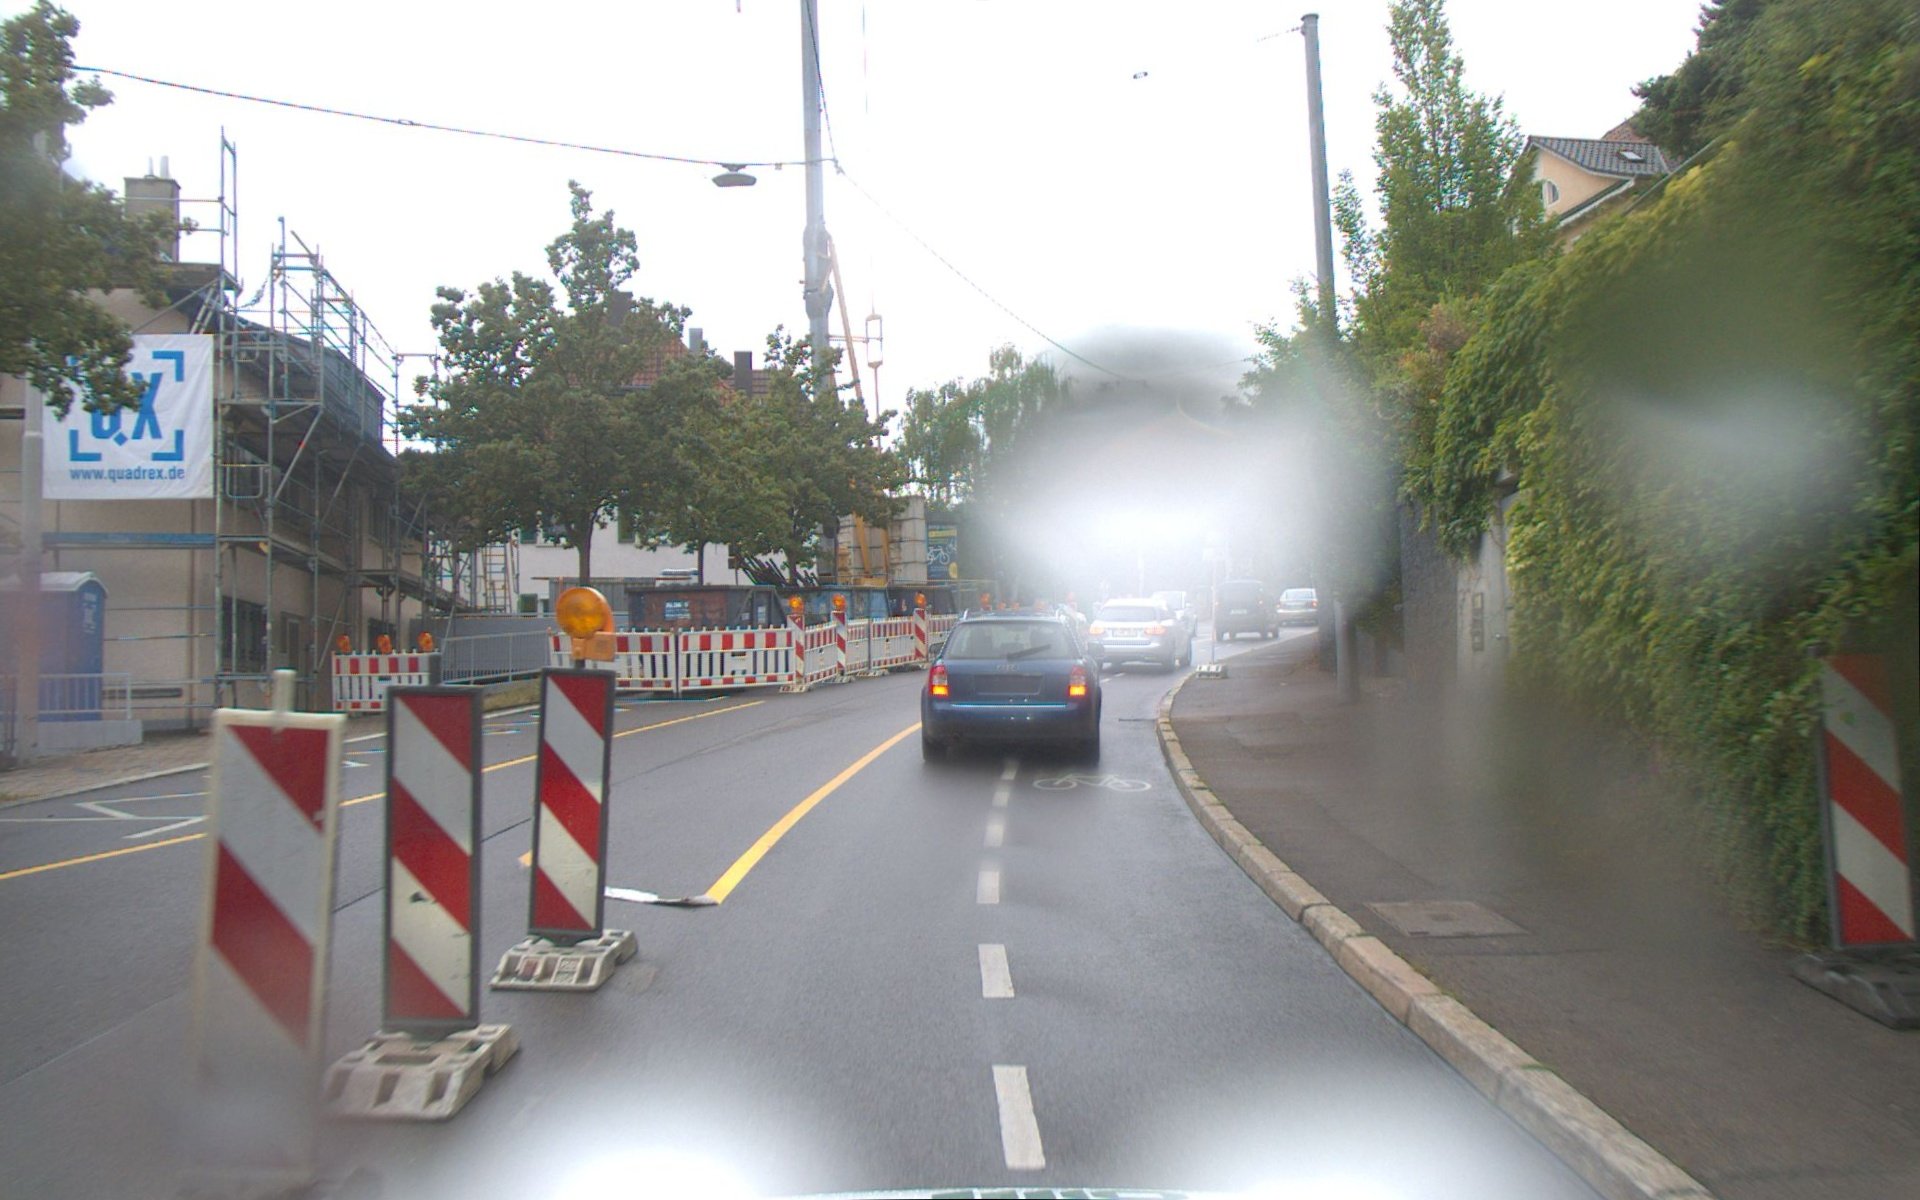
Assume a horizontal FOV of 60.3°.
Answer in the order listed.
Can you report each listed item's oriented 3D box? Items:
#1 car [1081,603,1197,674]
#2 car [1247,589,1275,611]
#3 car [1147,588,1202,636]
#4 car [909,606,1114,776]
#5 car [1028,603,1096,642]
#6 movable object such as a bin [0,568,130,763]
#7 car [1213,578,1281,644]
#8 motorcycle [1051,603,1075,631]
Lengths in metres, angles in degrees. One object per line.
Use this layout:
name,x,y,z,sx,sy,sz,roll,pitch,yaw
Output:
car,3.855,0.782,35.051,1.868,1.413,4.353,0,0,14
car,21.742,0.019,119.594,1.638,1.451,4.003,-4,0,7
car,7.242,0.386,55.697,1.425,1.553,2.925,0,0,16
car,0.640,0.820,16.775,1.739,1.464,4.003,1,0,6
car,4.911,1.112,80.246,1.661,1.535,3.983,-4,-2,-23
movable object such as a bin,-12.289,0.870,22.516,1.287,2.549,1.385,-1,0,-4
car,9.129,0.311,52.376,1.694,1.927,4.058,-4,0,15
motorcycle,4.543,0.751,73.125,0.578,1.150,1.844,-4,0,17
